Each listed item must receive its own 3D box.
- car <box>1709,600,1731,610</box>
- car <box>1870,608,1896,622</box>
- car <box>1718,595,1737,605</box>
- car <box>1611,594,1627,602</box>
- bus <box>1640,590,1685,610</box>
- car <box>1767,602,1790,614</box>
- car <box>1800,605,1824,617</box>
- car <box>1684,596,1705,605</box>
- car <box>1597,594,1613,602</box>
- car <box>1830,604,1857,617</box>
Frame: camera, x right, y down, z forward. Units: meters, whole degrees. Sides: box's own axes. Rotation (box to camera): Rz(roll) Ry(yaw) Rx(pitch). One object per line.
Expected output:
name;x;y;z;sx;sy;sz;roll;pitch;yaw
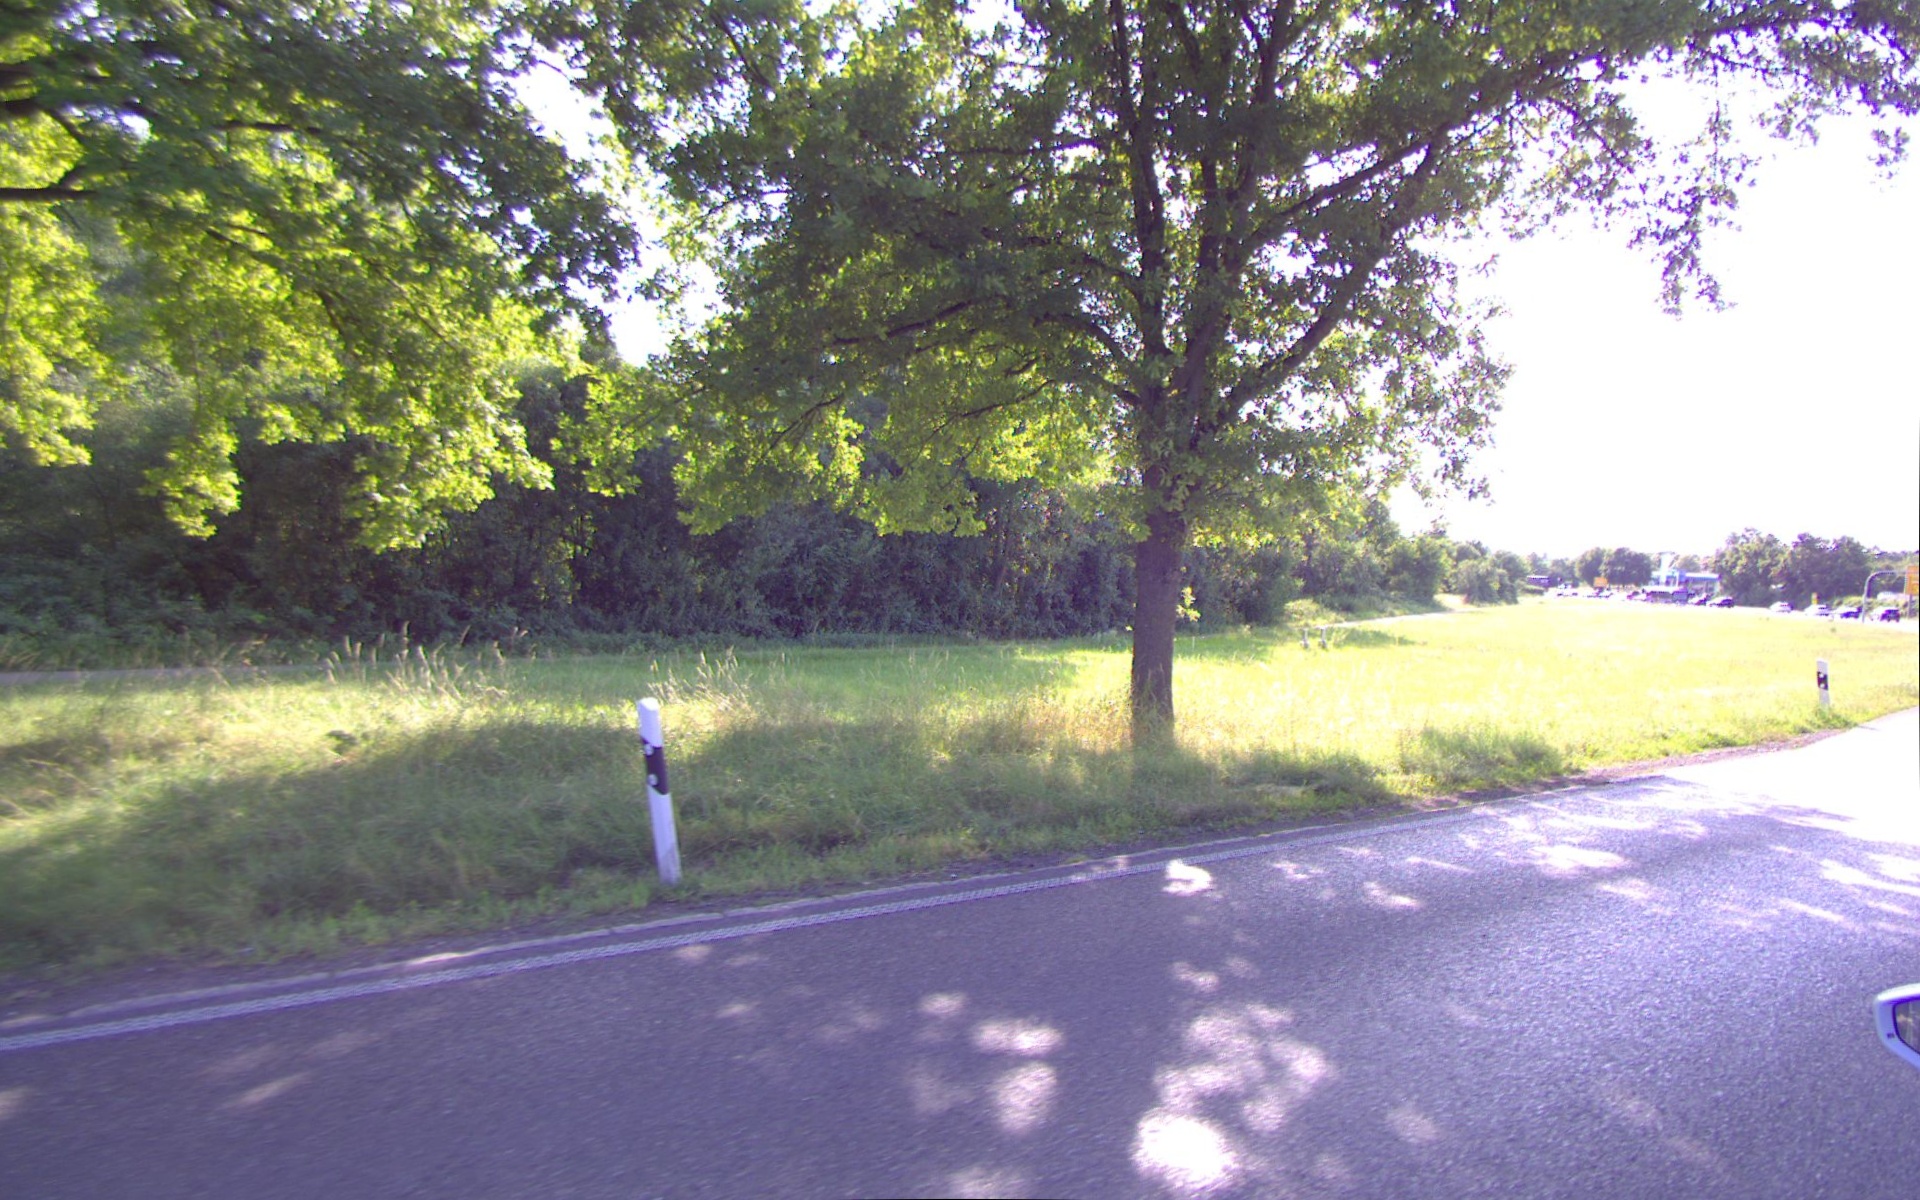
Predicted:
car;130.746;0.895;172.851;2.051;1.621;3.998;2;1;22
car;111.408;1.843;121.285;1.497;1.678;3.864;2;0;31
car;136.863;0.026;179.109;1.699;1.678;3.871;2;0;22
car;138.685;-0.365;211.417;1.850;1.621;4.000;2;1;19
bus;124.463;0.021;178.215;2.747;3.224;12.131;2;0;17
car;127.053;1.268;155.922;1.945;1.678;3.868;2;0;26
car;120.523;1.565;142.181;1.653;1.579;3.868;2;0;26
car;133.380;0.072;182.492;2.051;1.621;3.998;2;1;22
car;139.939;-0.490;217.975;1.850;1.621;4.001;2;1;14
car;116.183;1.390;132.176;1.653;1.579;3.868;2;0;26
